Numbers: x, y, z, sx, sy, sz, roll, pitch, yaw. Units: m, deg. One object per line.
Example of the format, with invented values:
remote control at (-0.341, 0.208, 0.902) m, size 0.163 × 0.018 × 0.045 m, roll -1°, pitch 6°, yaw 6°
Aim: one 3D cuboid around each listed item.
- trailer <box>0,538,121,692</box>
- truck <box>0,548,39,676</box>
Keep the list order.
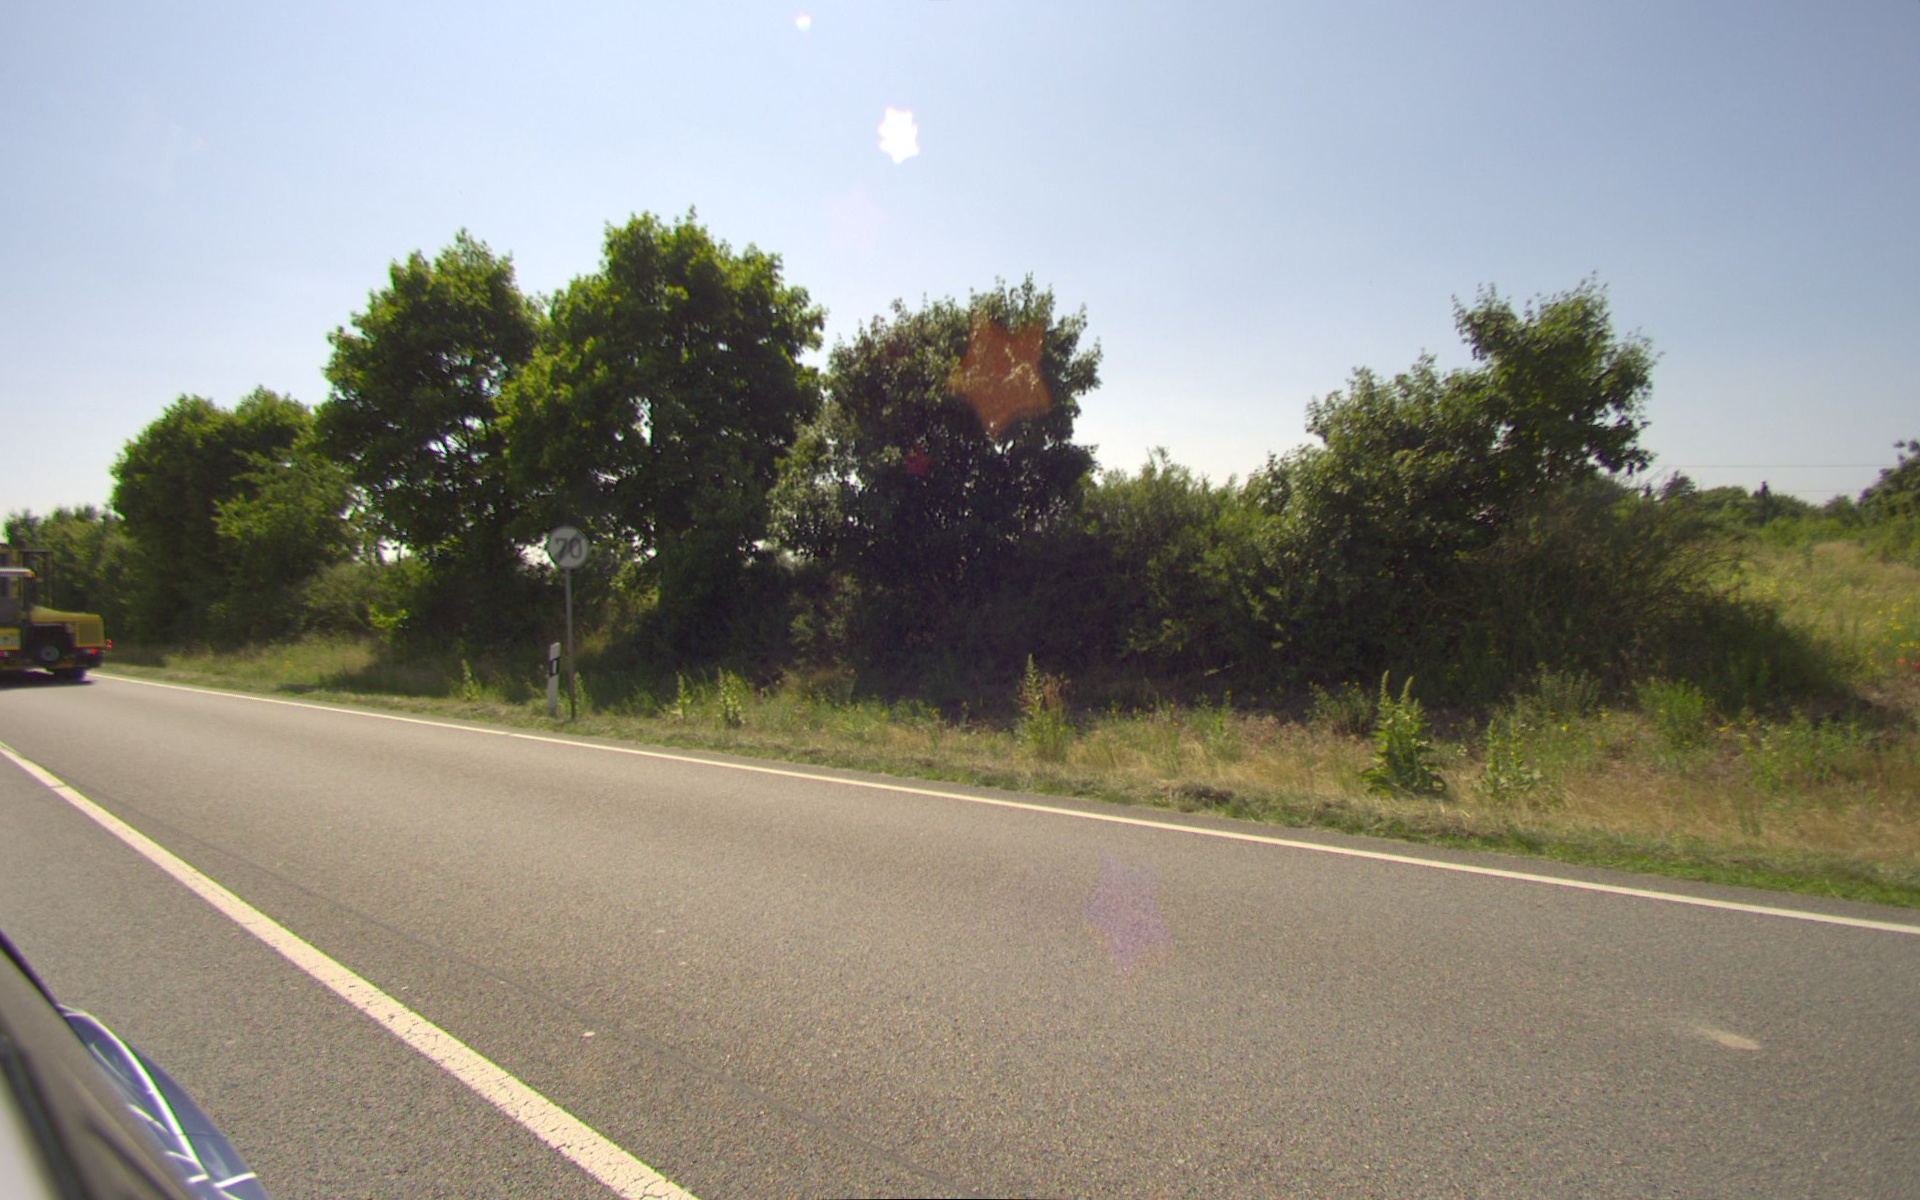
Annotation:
trailer at (-26.923, 0.527, 28.346) m, size 14.936 × 3.486 × 2.635 m, roll -2°, pitch -1°, yaw 40°
truck at (-32.200, 0.434, 32.821) m, size 5.947 × 3.961 × 2.675 m, roll -2°, pitch -1°, yaw 40°
